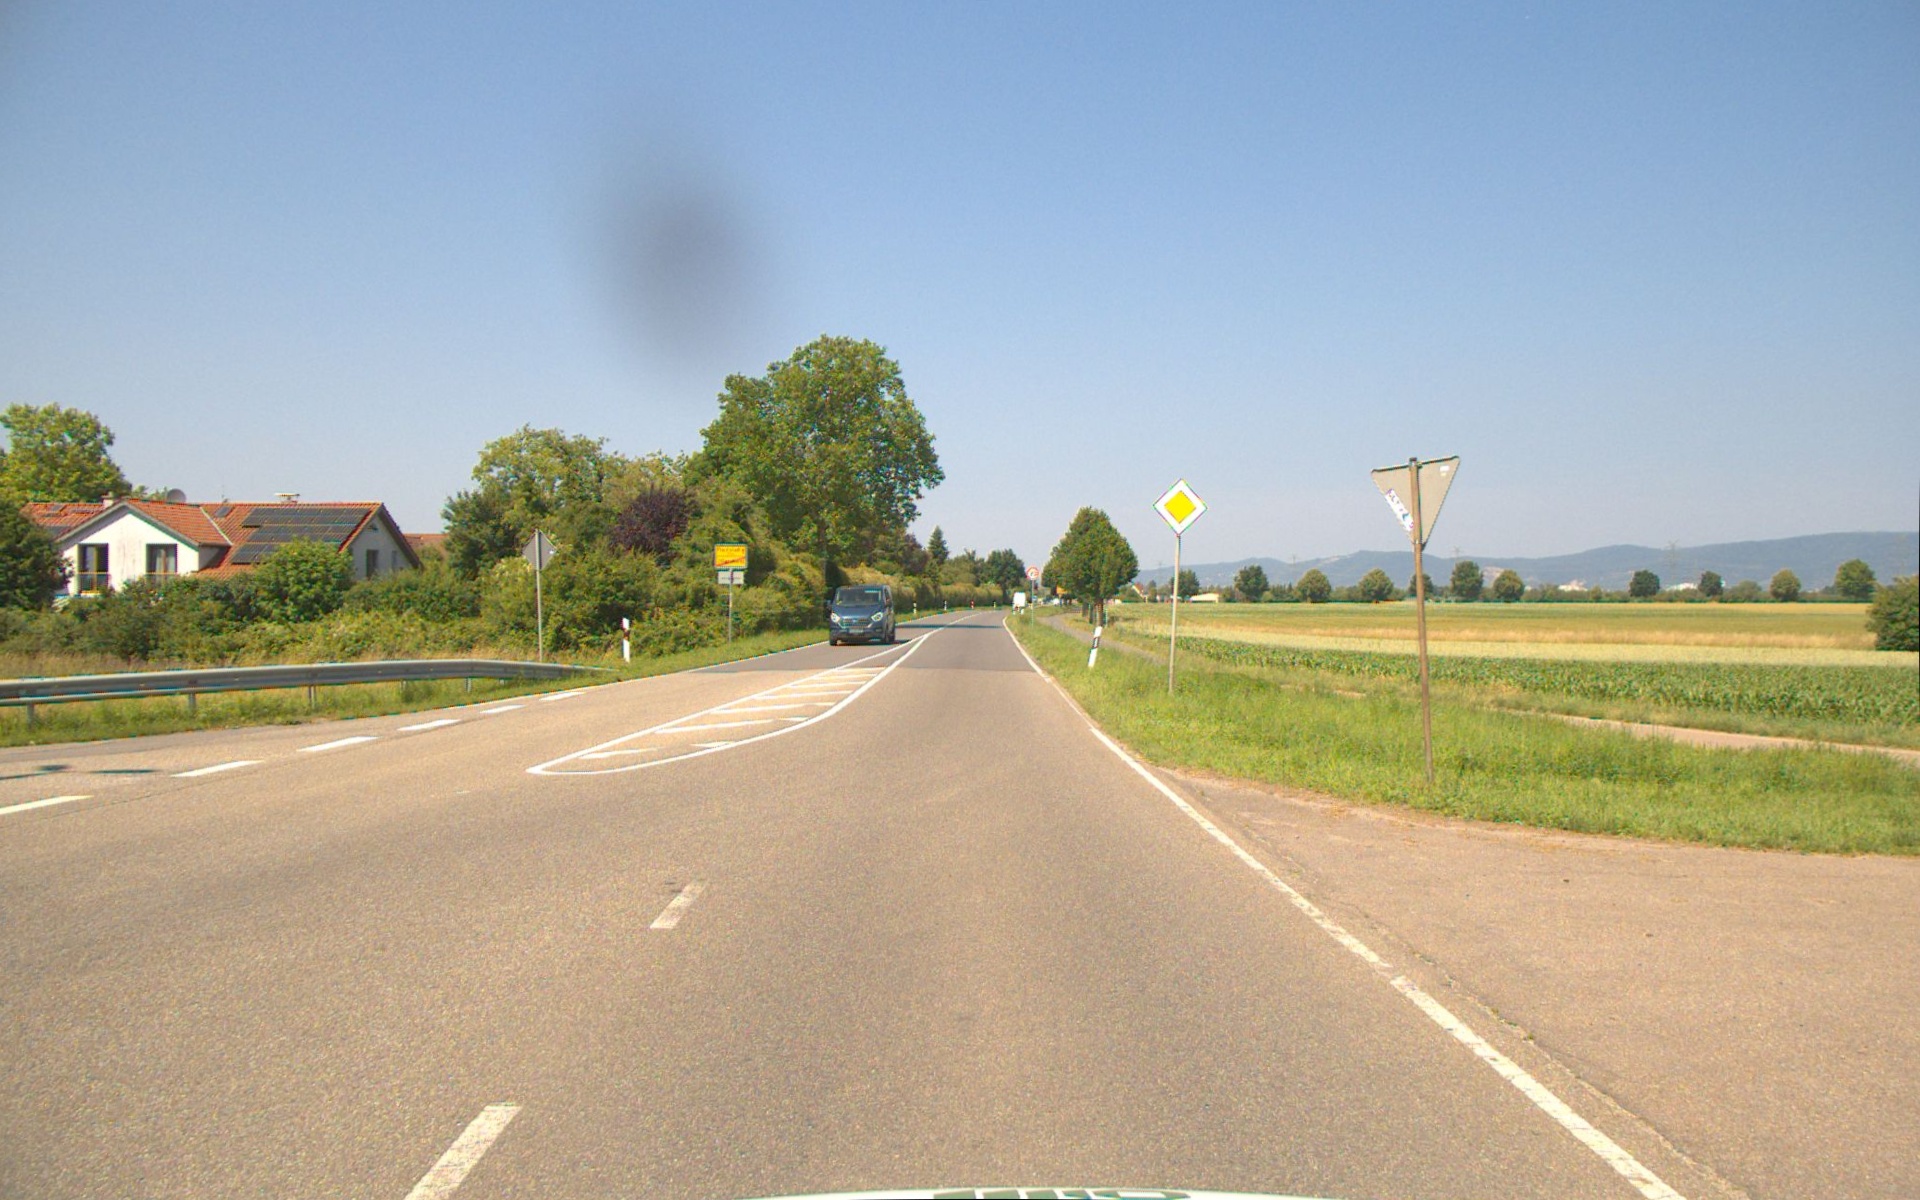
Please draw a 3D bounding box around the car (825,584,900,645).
[{"bbox_3d":[-3.301,0.472,57.015,2.100,1.985,5.248,0,0,2],"label":"car"}]

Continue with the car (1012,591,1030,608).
[{"bbox_3d":[9.520,-0.086,258.499,1.951,2.697,4.003,0,0,16],"label":"car"}]
